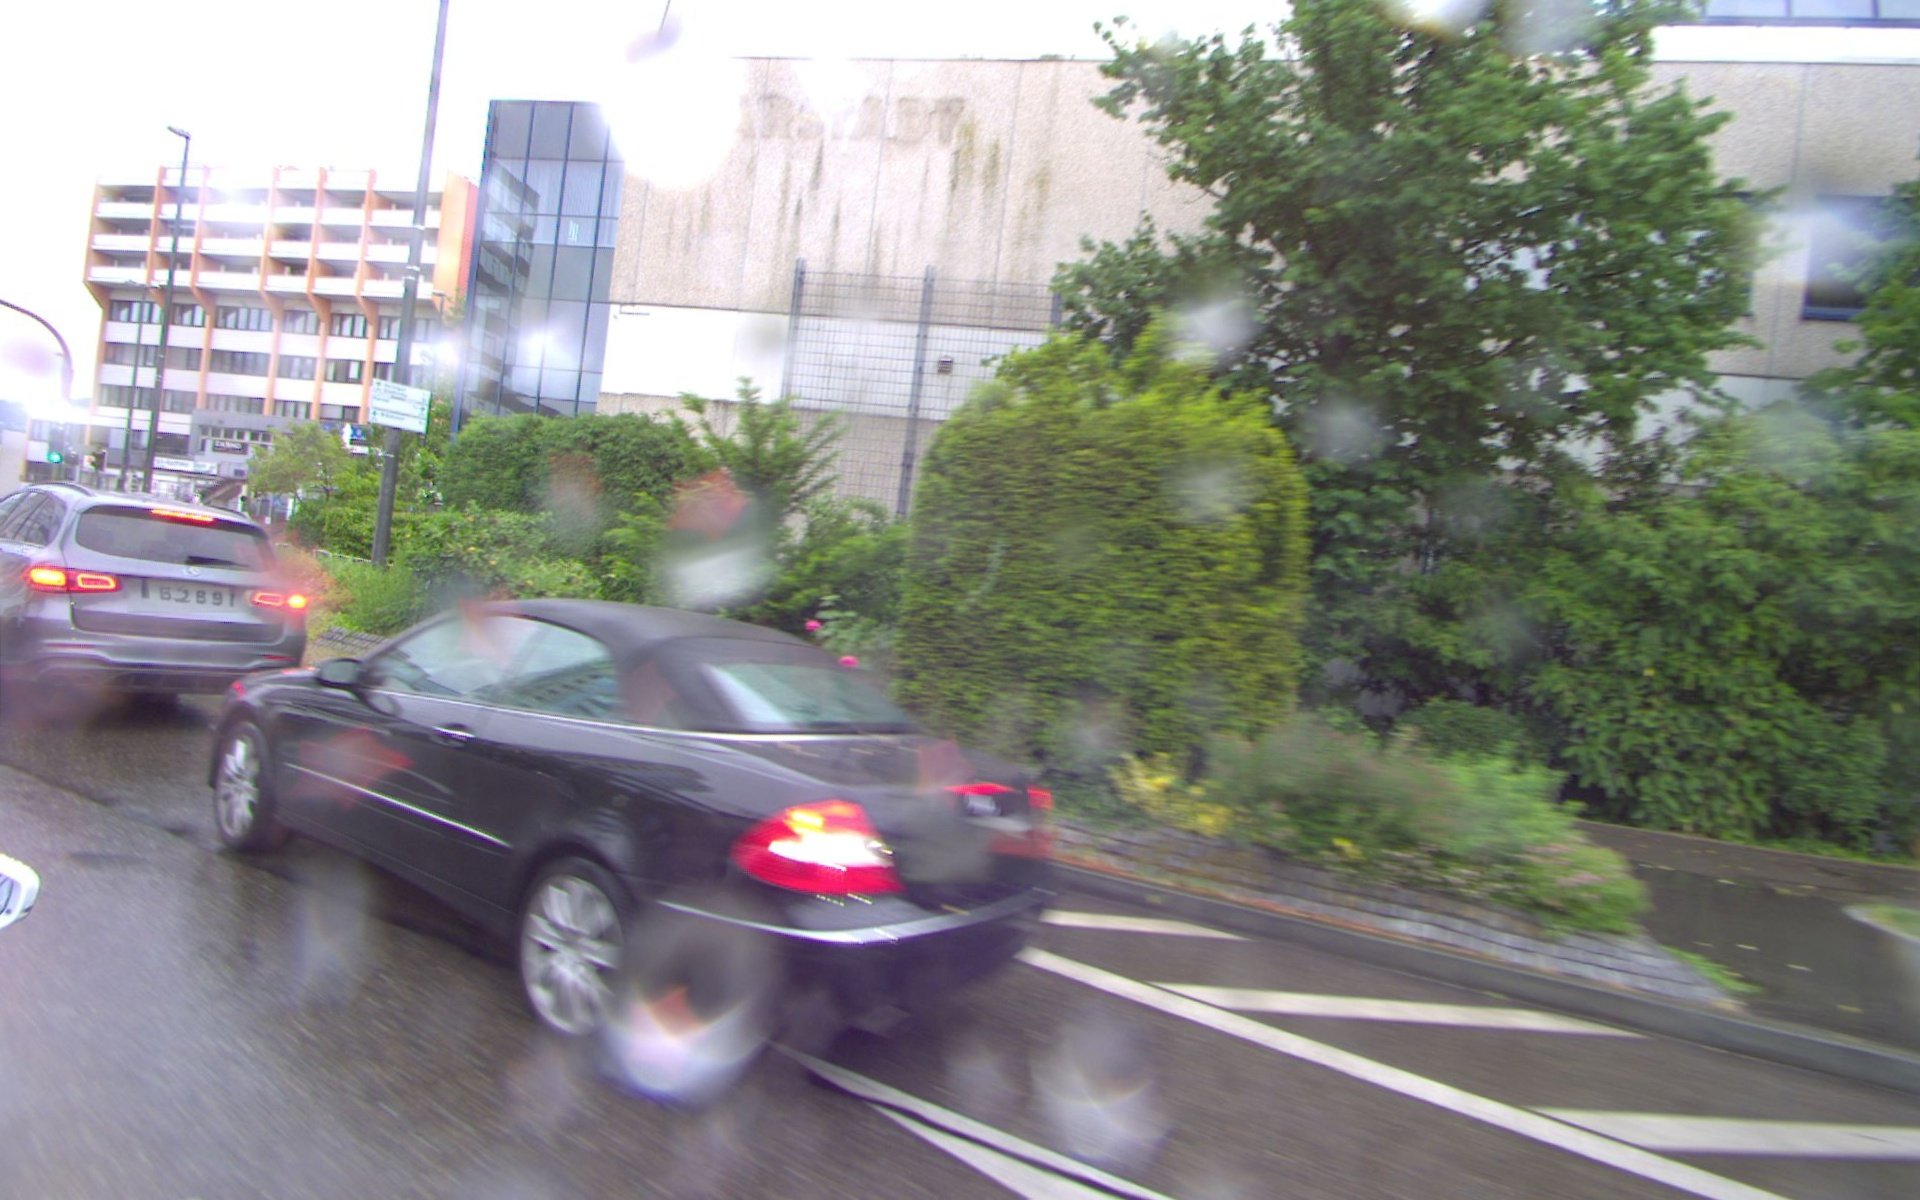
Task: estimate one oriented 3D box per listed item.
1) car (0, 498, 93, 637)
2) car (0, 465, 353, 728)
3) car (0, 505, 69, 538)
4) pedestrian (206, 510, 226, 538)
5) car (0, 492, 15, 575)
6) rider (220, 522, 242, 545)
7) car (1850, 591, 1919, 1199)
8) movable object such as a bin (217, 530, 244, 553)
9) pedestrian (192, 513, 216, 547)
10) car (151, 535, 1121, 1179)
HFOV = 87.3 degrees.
[{"bbox_3d":[-12.326,-0.570,12.394,4.206,1.464,1.634,6,-3,39],"label":"car"},{"bbox_3d":[-7.063,-0.113,8.340,4.269,1.639,1.902,6,-2,37],"label":"car"},{"bbox_3d":[-80.343,-6.794,87.192,4.880,2.254,2.001,6,0,10],"label":"car"},{"bbox_3d":[-39.024,-3.976,52.781,0.704,1.362,0.648,6,0,-40],"label":"pedestrian"},{"bbox_3d":[-18.357,-1.352,17.779,3.408,1.417,1.910,6,-2,40],"label":"car"},{"bbox_3d":[-45.653,-4.179,63.016,0.918,1.302,1.077,3,3,-44],"label":"rider"},{"bbox_3d":[4.045,1.031,0.849,4.511,1.916,1.999,6,-2,32],"label":"car"},{"bbox_3d":[-45.754,-3.672,63.103,1.125,1.349,1.437,3,1,-44],"label":"movable object such as a bin"},{"bbox_3d":[-39.187,-3.623,52.137,0.705,1.624,0.648,12,-3,-38],"label":"pedestrian"},{"bbox_3d":[-1.725,0.660,4.509,4.443,1.402,1.634,7,-2,34],"label":"car"}]
